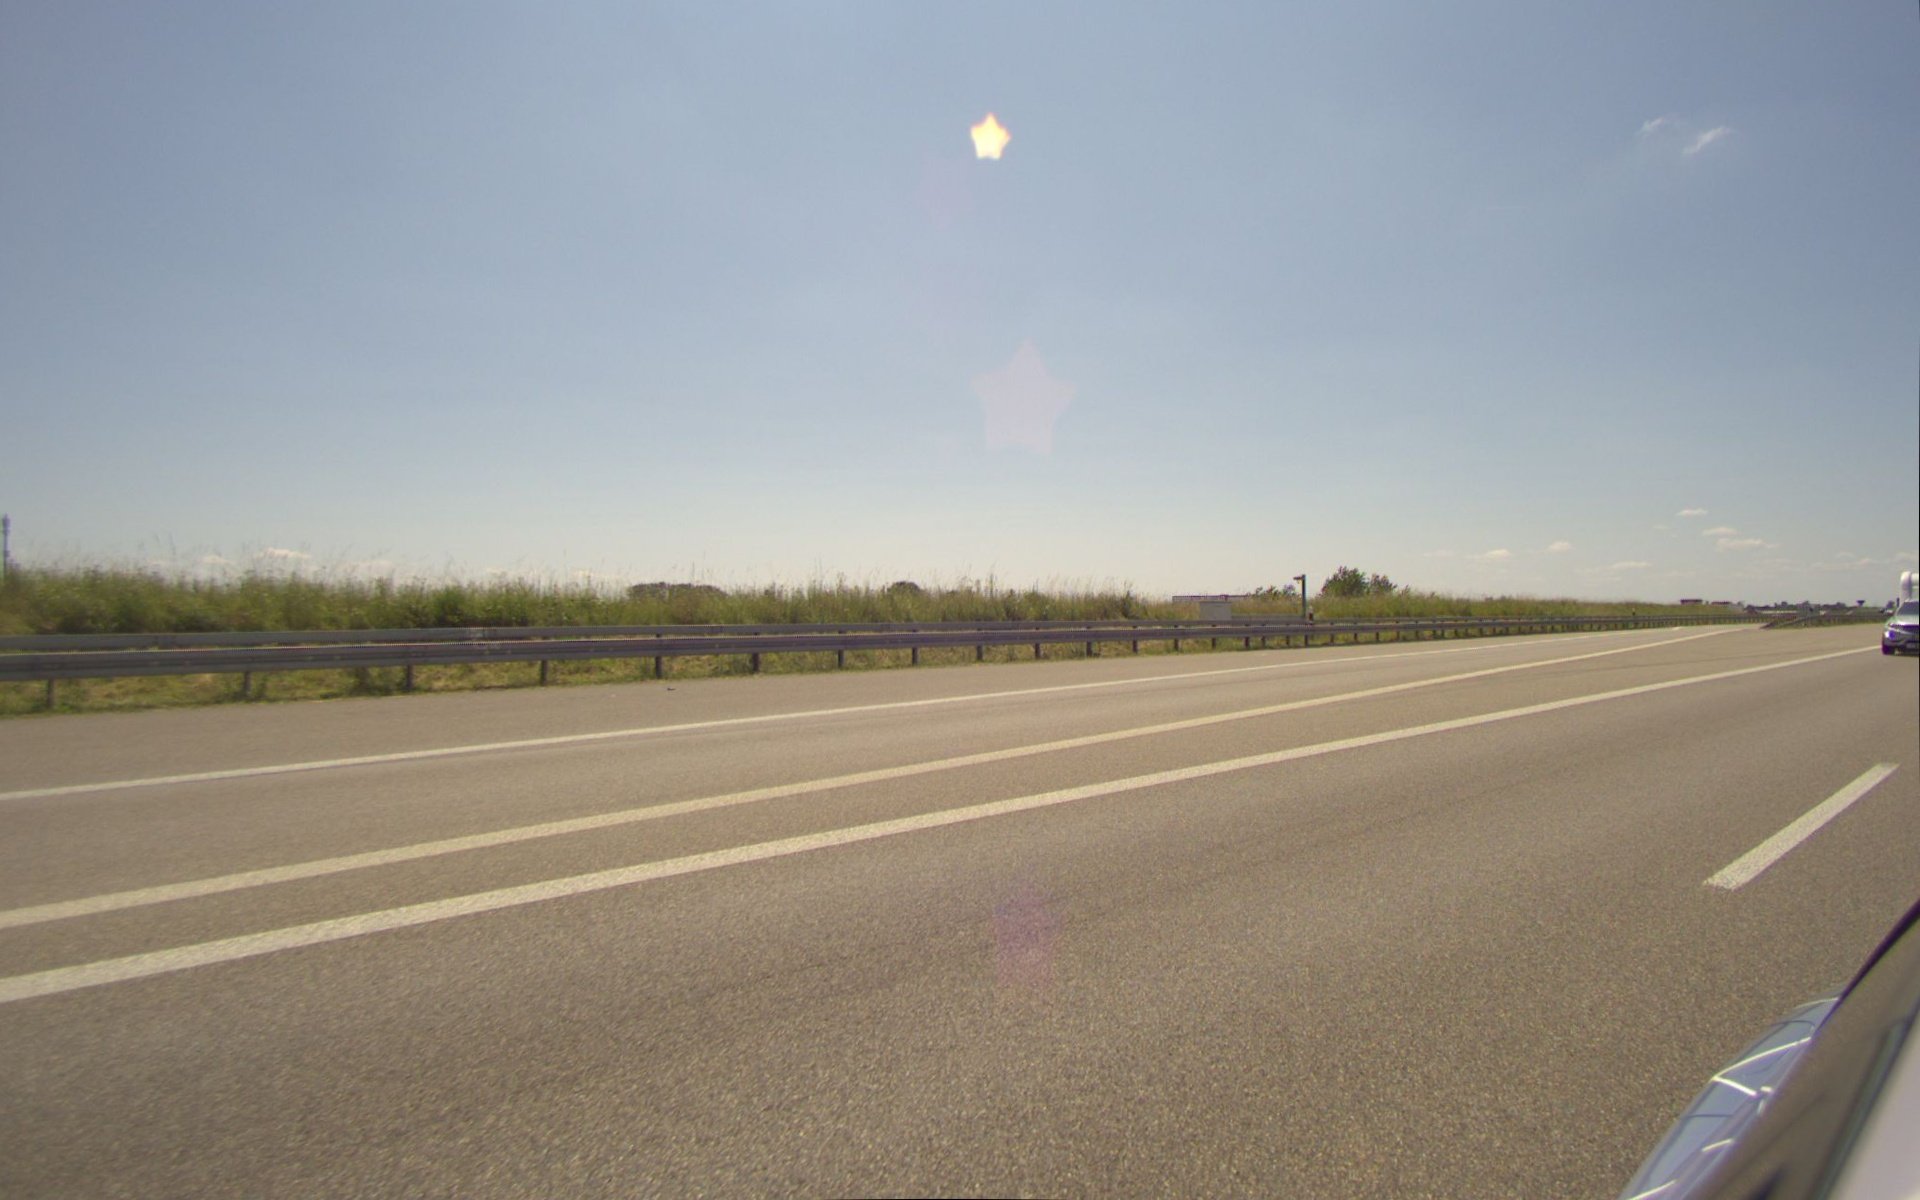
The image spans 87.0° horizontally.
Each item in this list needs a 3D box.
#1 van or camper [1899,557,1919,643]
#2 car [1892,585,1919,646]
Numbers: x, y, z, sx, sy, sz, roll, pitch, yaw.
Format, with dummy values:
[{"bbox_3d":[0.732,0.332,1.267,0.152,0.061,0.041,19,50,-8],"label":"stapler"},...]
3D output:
[{"bbox_3d":[32.611,0.059,32.663,7.679,2.626,2.517,1,-1,-41],"label":"van or camper"},{"bbox_3d":[27.989,0.460,28.606,4.817,1.643,1.884,1,-1,-41],"label":"car"}]
